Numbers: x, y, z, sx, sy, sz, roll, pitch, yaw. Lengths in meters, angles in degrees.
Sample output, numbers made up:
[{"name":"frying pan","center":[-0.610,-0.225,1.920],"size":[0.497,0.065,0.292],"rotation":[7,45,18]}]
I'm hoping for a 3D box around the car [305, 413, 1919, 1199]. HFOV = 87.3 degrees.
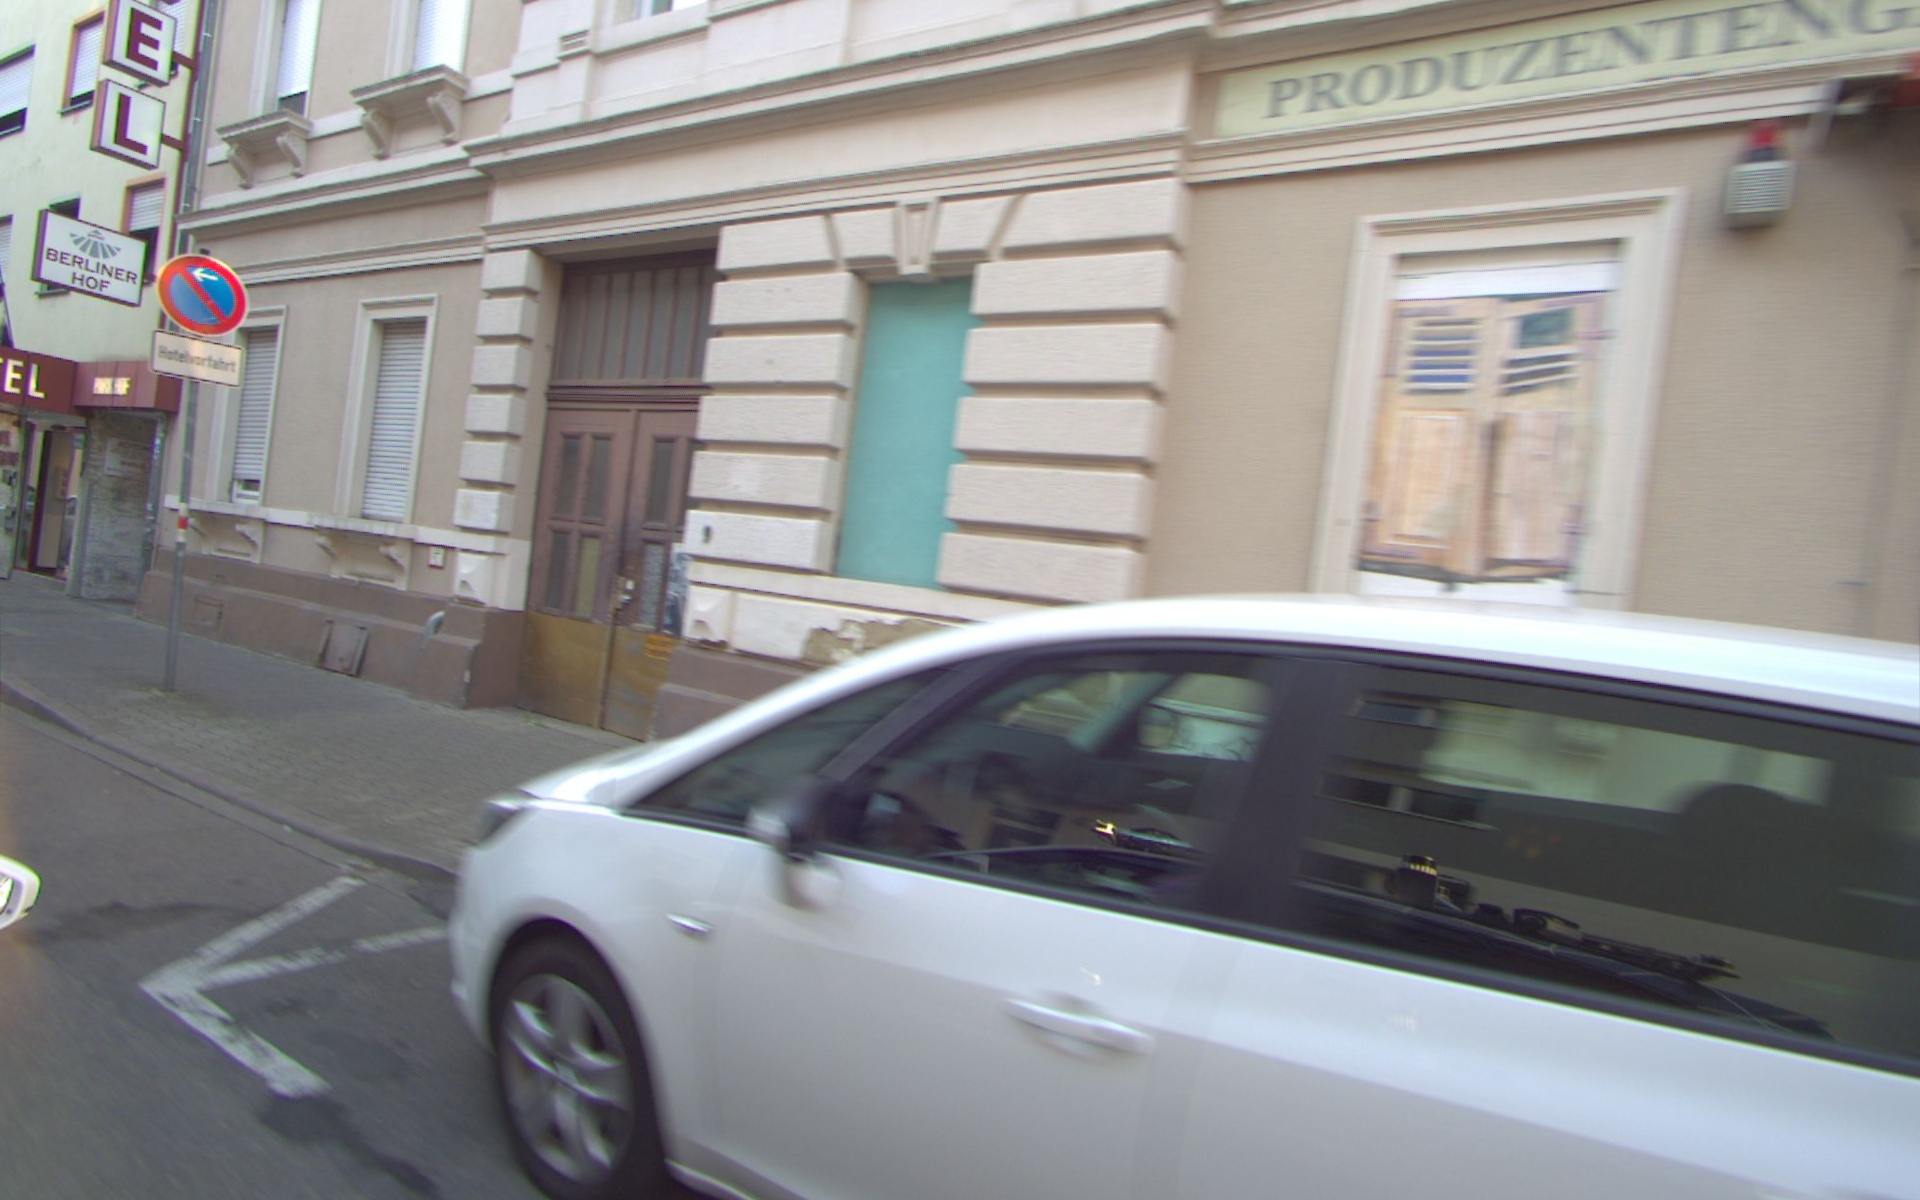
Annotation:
[{"name":"car","center":[0.632,0.683,2.377],"size":[4.386,1.745,1.819],"rotation":[8,0,31]}]
